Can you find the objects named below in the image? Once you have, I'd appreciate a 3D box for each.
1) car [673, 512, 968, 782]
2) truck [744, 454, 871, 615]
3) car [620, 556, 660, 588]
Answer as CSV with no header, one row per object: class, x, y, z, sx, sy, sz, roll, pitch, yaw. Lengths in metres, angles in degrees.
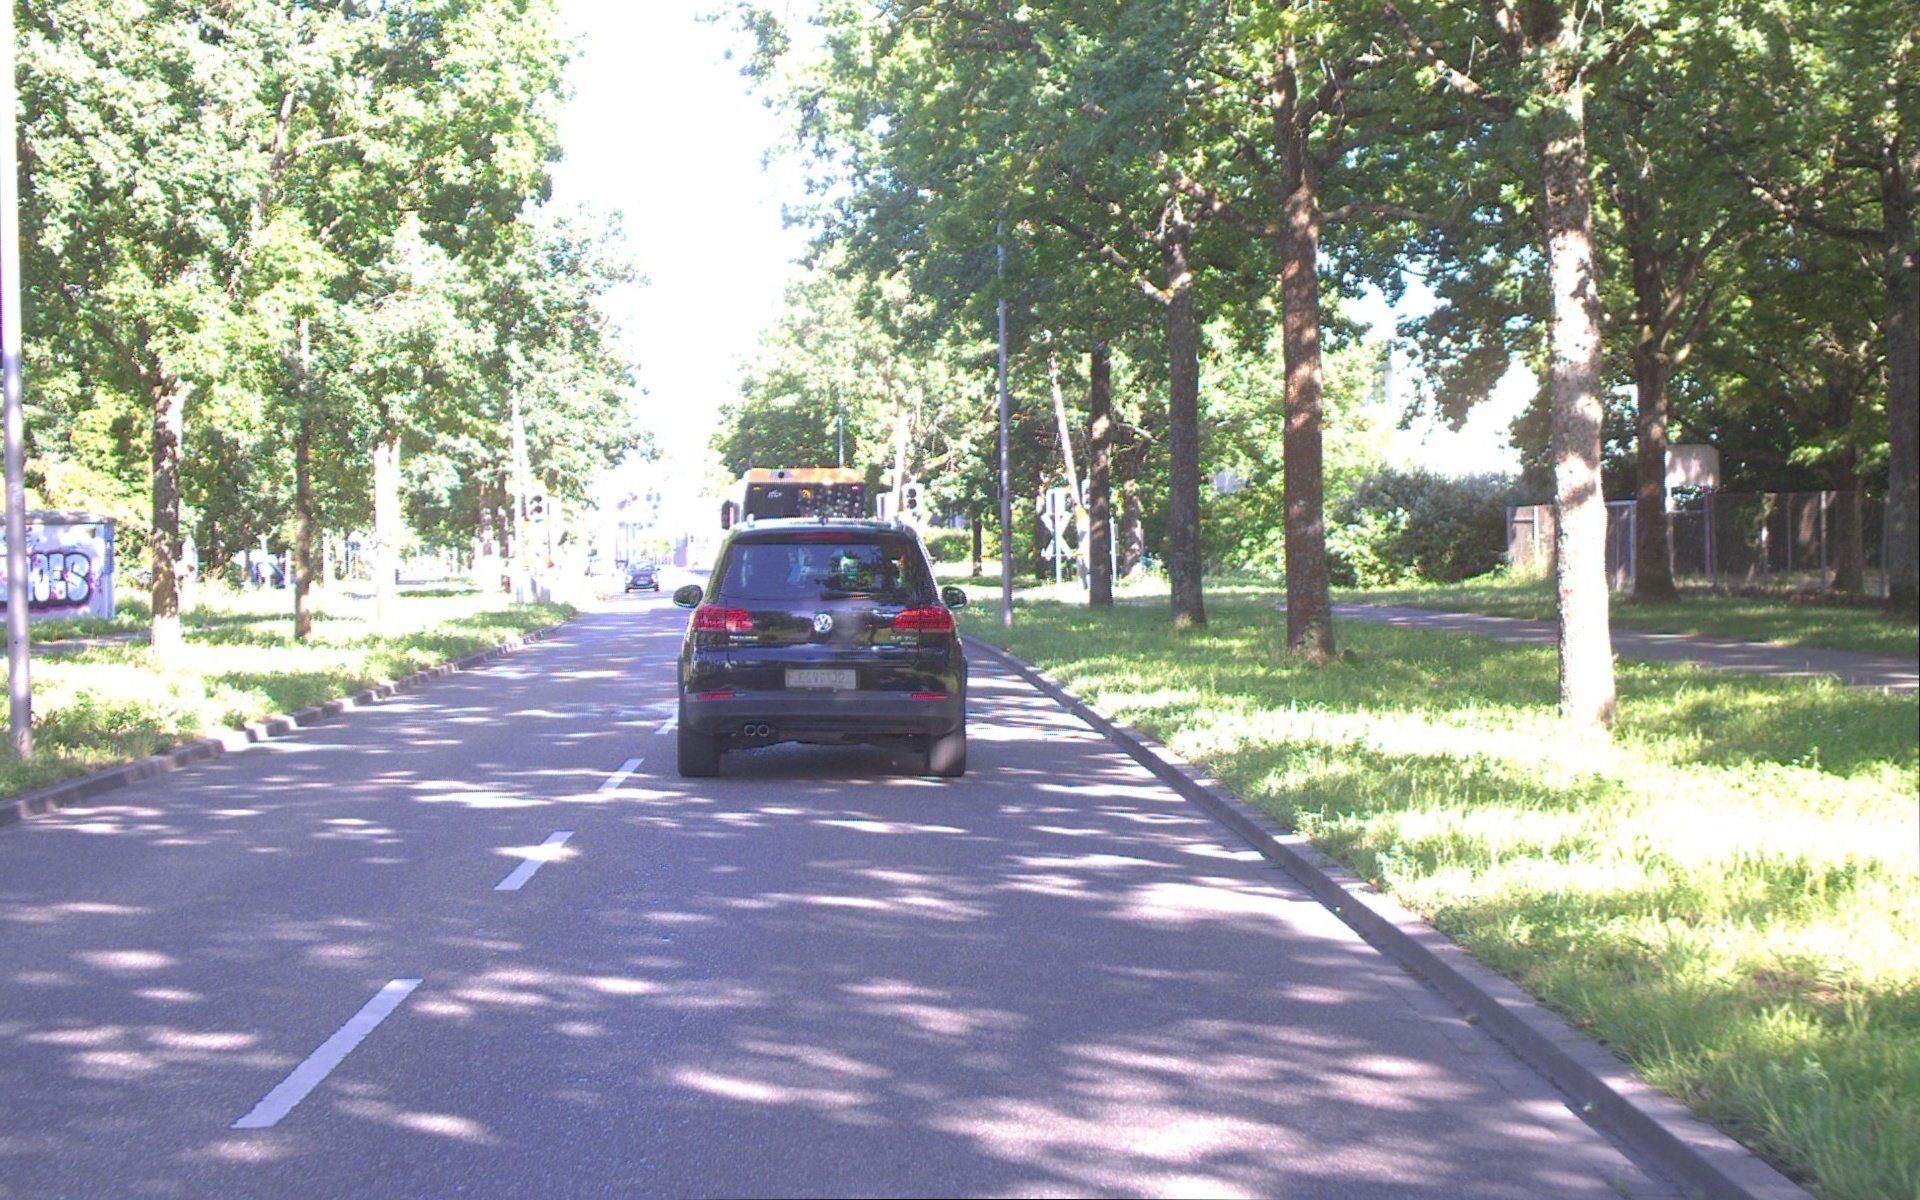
car,-0.955,0.263,23.040,1.782,1.628,4.001,1,1,-3
truck,-3.326,-1.388,74.042,2.512,3.232,8.153,-1,1,-3
car,-15.334,-1.333,164.736,1.565,1.499,4.000,1,1,-1
